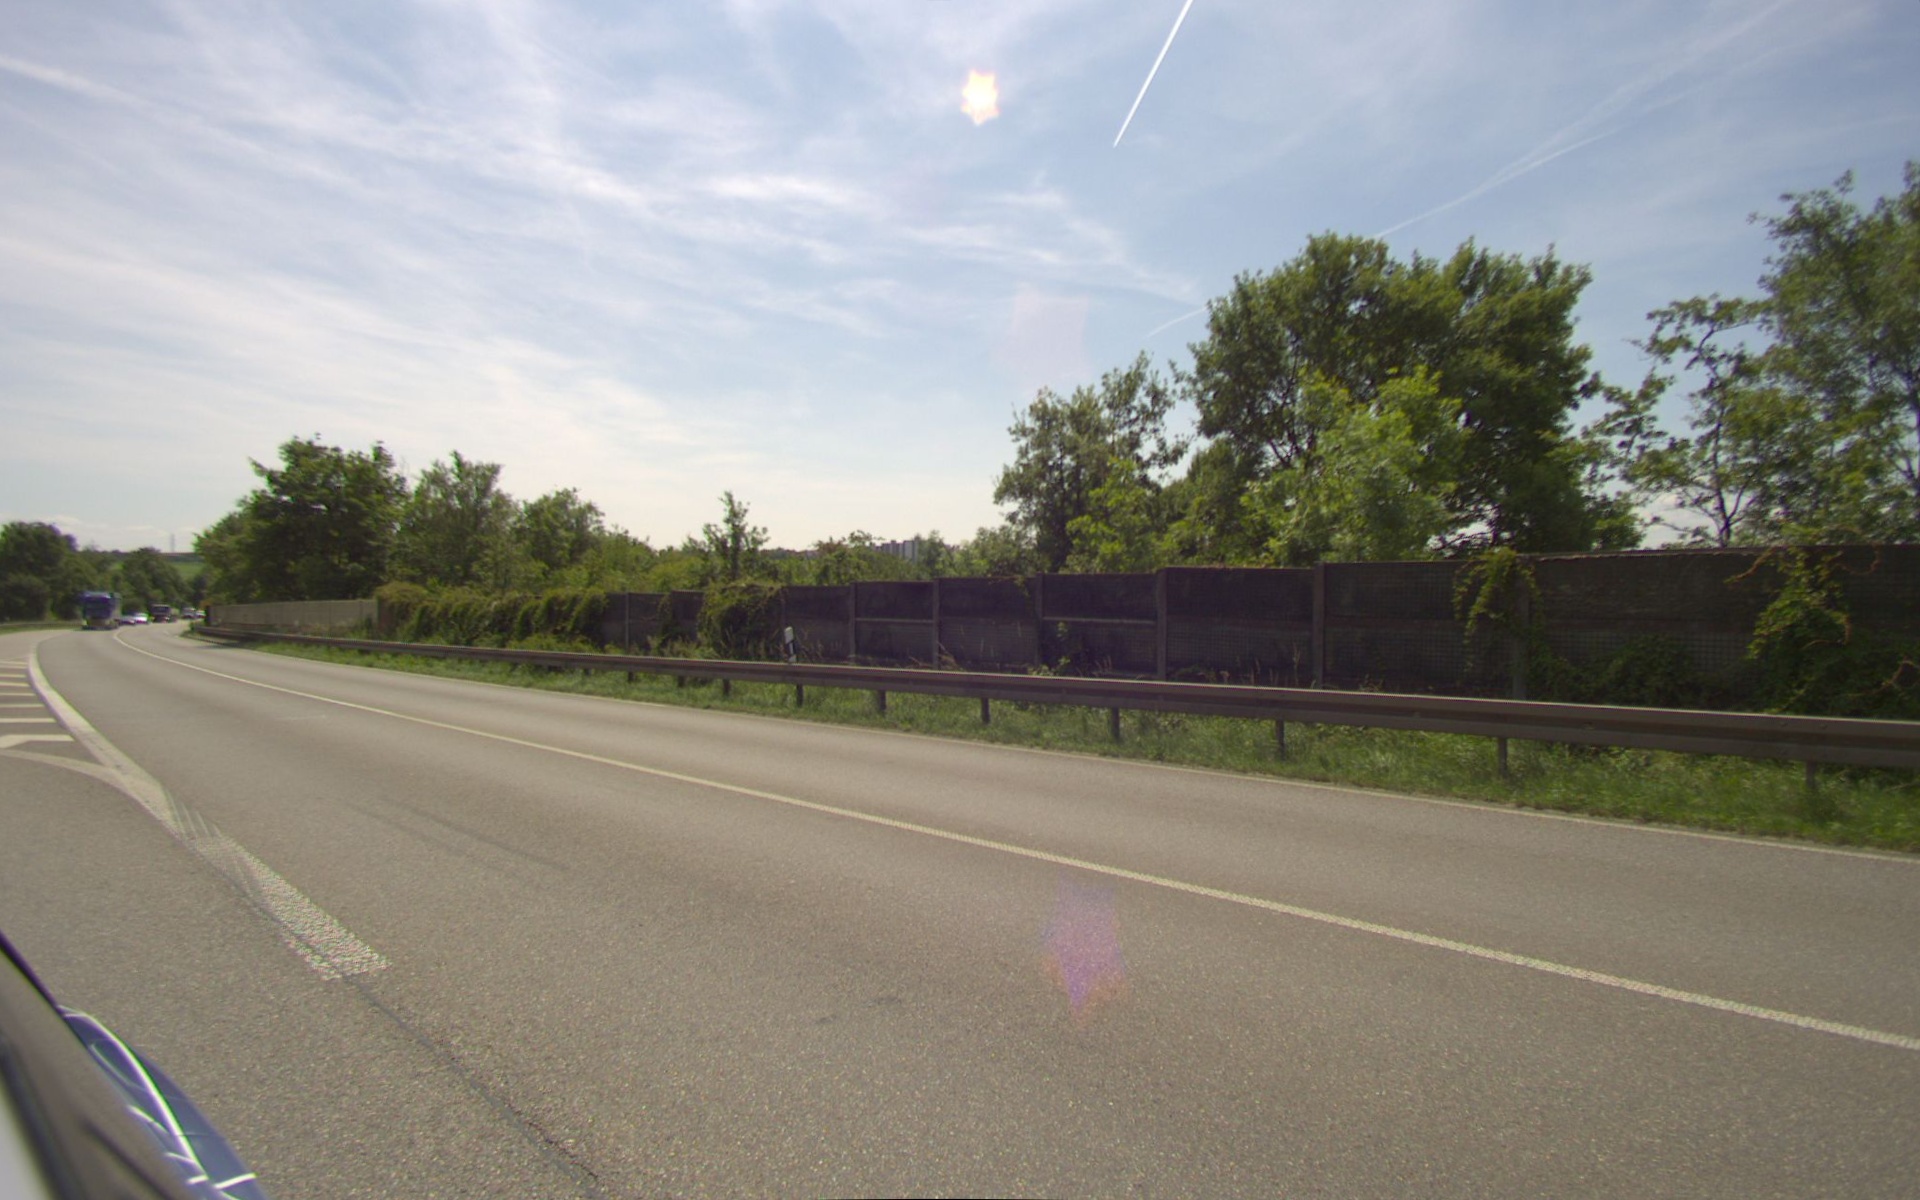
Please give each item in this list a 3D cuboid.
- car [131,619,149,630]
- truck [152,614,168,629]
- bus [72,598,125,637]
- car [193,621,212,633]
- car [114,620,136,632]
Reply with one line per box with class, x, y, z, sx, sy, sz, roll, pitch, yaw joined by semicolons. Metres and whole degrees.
car;-128.900;3.818;159.147;1.967;1.658;4.009;1;-1;-36
truck;-142.267;3.837;180.093;1.967;2.619;5.833;0;-1;-36
bus;-93.772;1.923;110.292;3.298;4.100;10.539;1;-1;-35
car;-104.212;3.722;139.273;1.725;1.550;4.119;-1;0;-31
car;-117.893;3.685;142.898;1.966;1.654;4.011;1;-2;-33
